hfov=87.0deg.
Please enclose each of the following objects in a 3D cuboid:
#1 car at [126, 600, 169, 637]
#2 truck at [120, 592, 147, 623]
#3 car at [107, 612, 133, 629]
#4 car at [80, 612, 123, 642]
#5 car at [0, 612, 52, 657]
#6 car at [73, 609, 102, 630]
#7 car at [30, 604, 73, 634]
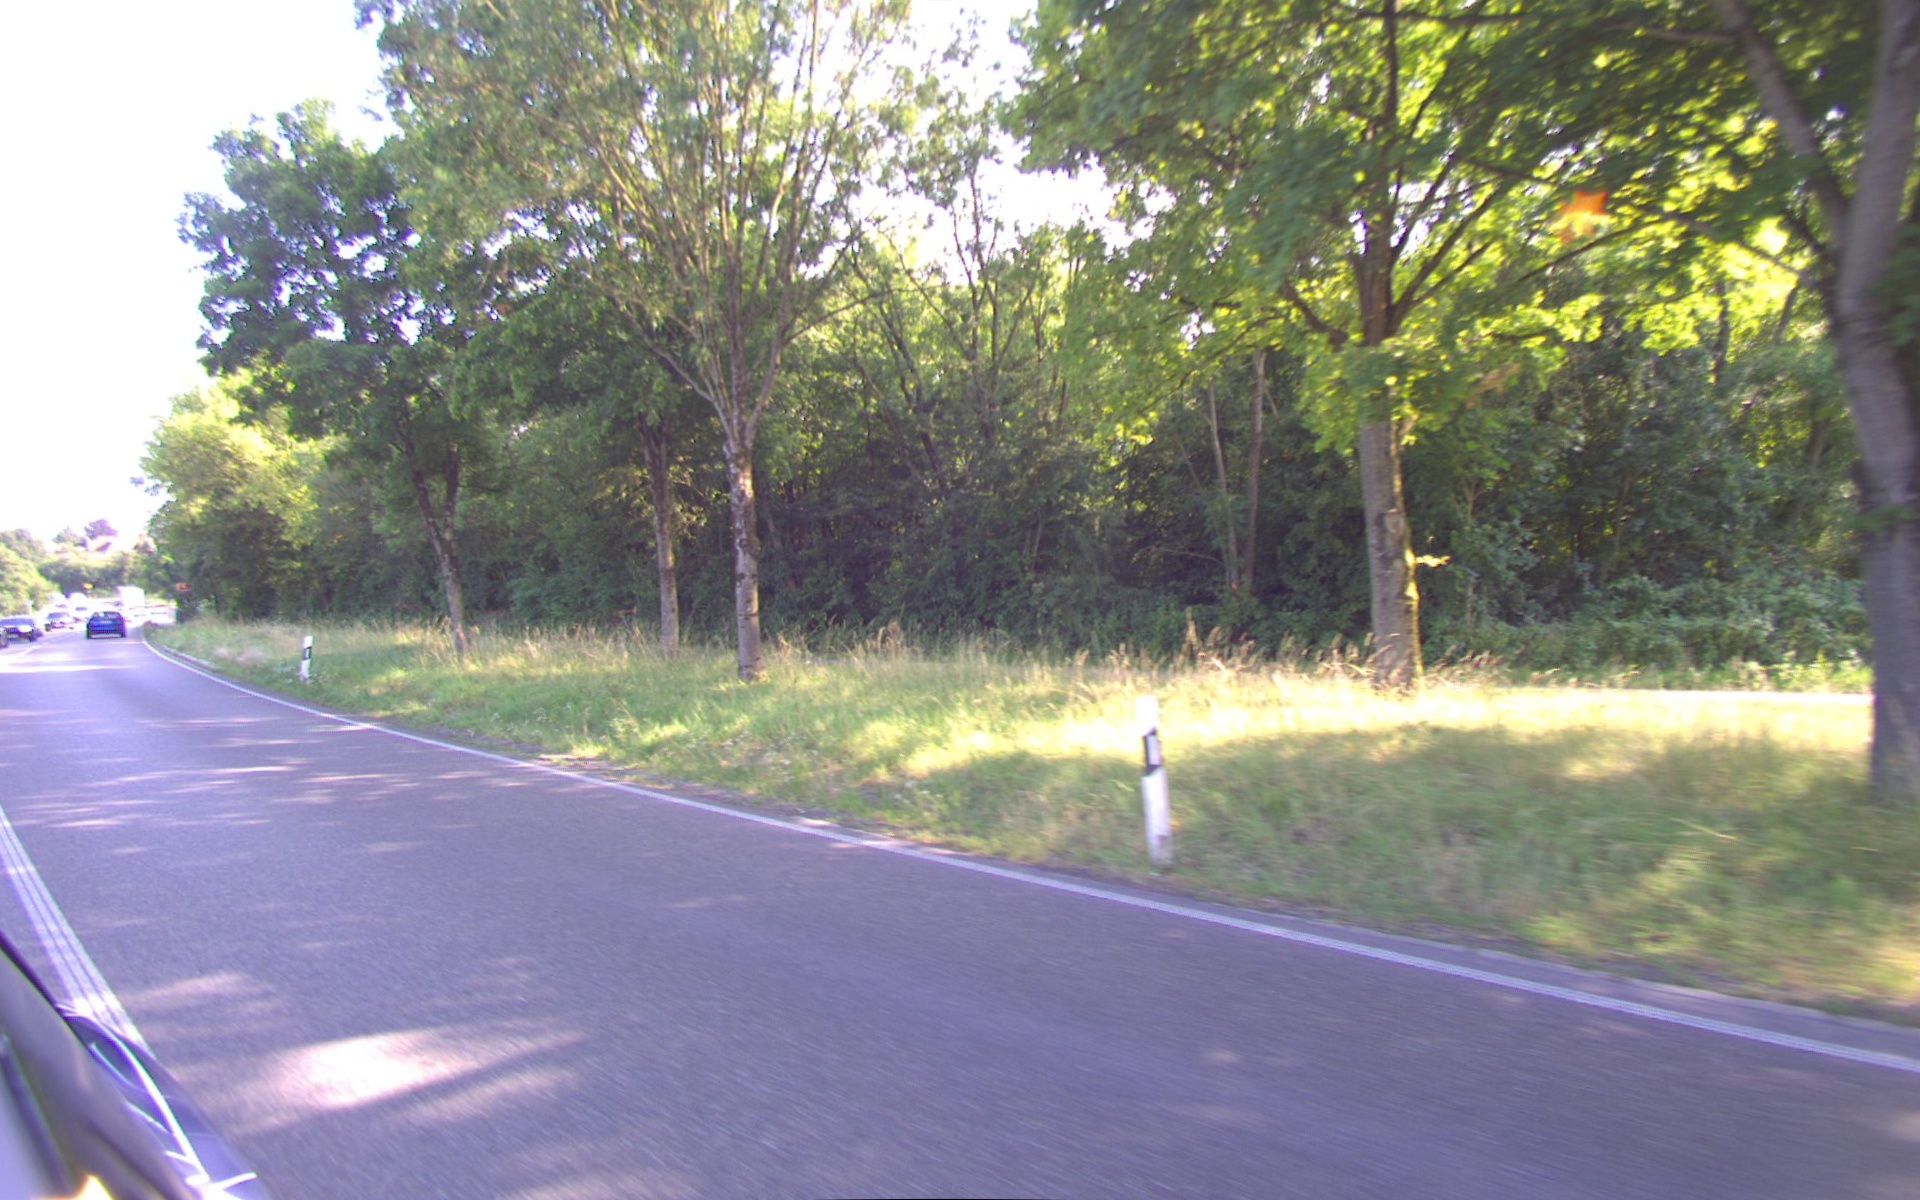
[{"bbox_3d":[-56.277,1.265,70.074,2.057,2.435,5.149,-1,0,-41],"label":"car"},{"bbox_3d":[-145.392,1.350,178.030,3.577,5.210,10.480,0,-1,-39],"label":"truck"},{"bbox_3d":[-84.169,2.045,101.445,1.866,1.644,4.260,-1,0,-38],"label":"car"},{"bbox_3d":[-50.365,1.578,59.390,1.873,1.644,4.257,-1,0,-41],"label":"car"},{"bbox_3d":[-53.787,1.904,58.118,5.144,2.435,2.060,-1,0,44],"label":"car"},{"bbox_3d":[-103.319,2.282,119.869,2.055,2.435,5.155,-1,0,-35],"label":"car"},{"bbox_3d":[-75.770,1.564,84.460,2.055,2.435,5.155,-1,0,-35],"label":"car"}]
